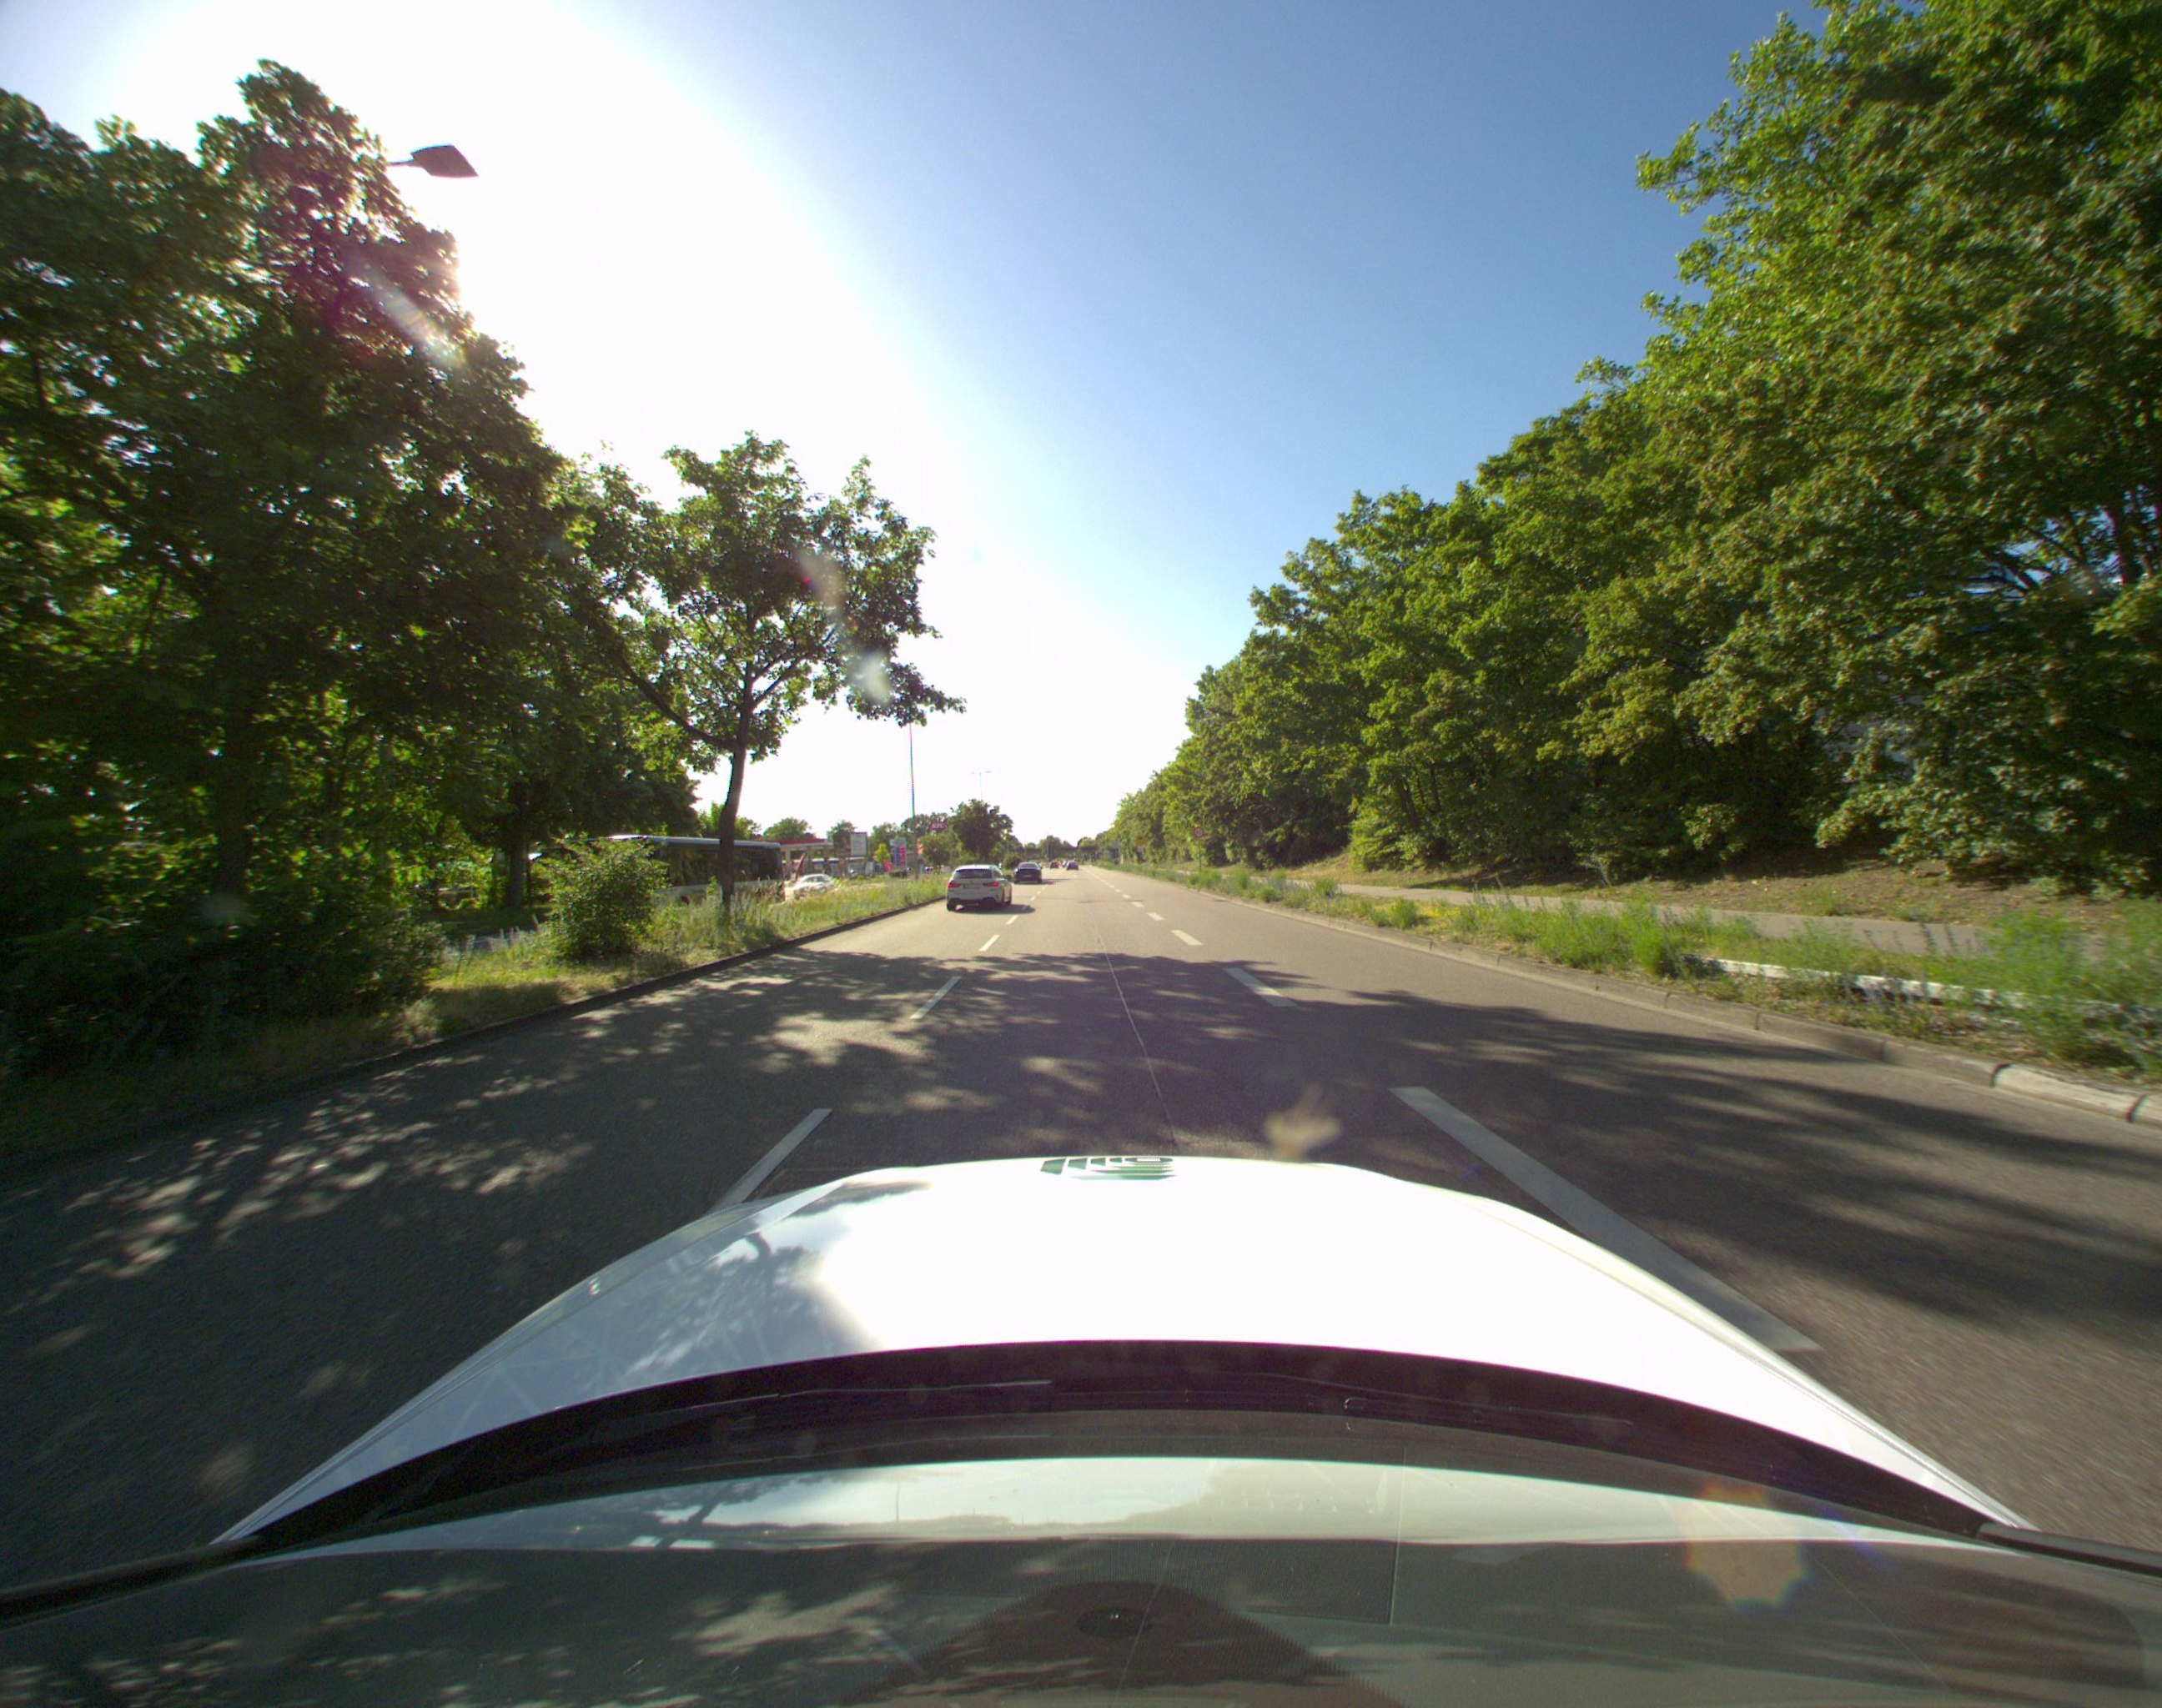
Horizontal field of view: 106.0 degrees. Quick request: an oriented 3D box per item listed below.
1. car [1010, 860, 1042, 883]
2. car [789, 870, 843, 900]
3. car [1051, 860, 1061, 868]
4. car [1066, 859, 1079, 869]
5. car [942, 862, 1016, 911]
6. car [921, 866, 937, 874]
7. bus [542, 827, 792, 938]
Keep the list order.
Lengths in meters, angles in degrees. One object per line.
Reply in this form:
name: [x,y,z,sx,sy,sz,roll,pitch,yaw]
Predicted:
car: [-3.725,1.183,55.850,1.856,1.455,4.545,-2,0,-1]
car: [-16.213,1.839,50.041,1.750,1.520,4.528,-5,0,0]
car: [-5.042,2.025,164.356,1.856,1.565,4.545,-2,0,-1]
car: [-1.351,1.520,129.518,1.856,1.499,4.334,-2,0,-1]
car: [-3.330,1.019,27.409,1.855,1.455,4.547,-1,0,0]
car: [-37.824,4.026,203.213,1.938,1.783,4.036,-2,-1,-45]
bus: [-13.088,0.770,27.425,2.714,2.721,11.081,-5,0,-1]
